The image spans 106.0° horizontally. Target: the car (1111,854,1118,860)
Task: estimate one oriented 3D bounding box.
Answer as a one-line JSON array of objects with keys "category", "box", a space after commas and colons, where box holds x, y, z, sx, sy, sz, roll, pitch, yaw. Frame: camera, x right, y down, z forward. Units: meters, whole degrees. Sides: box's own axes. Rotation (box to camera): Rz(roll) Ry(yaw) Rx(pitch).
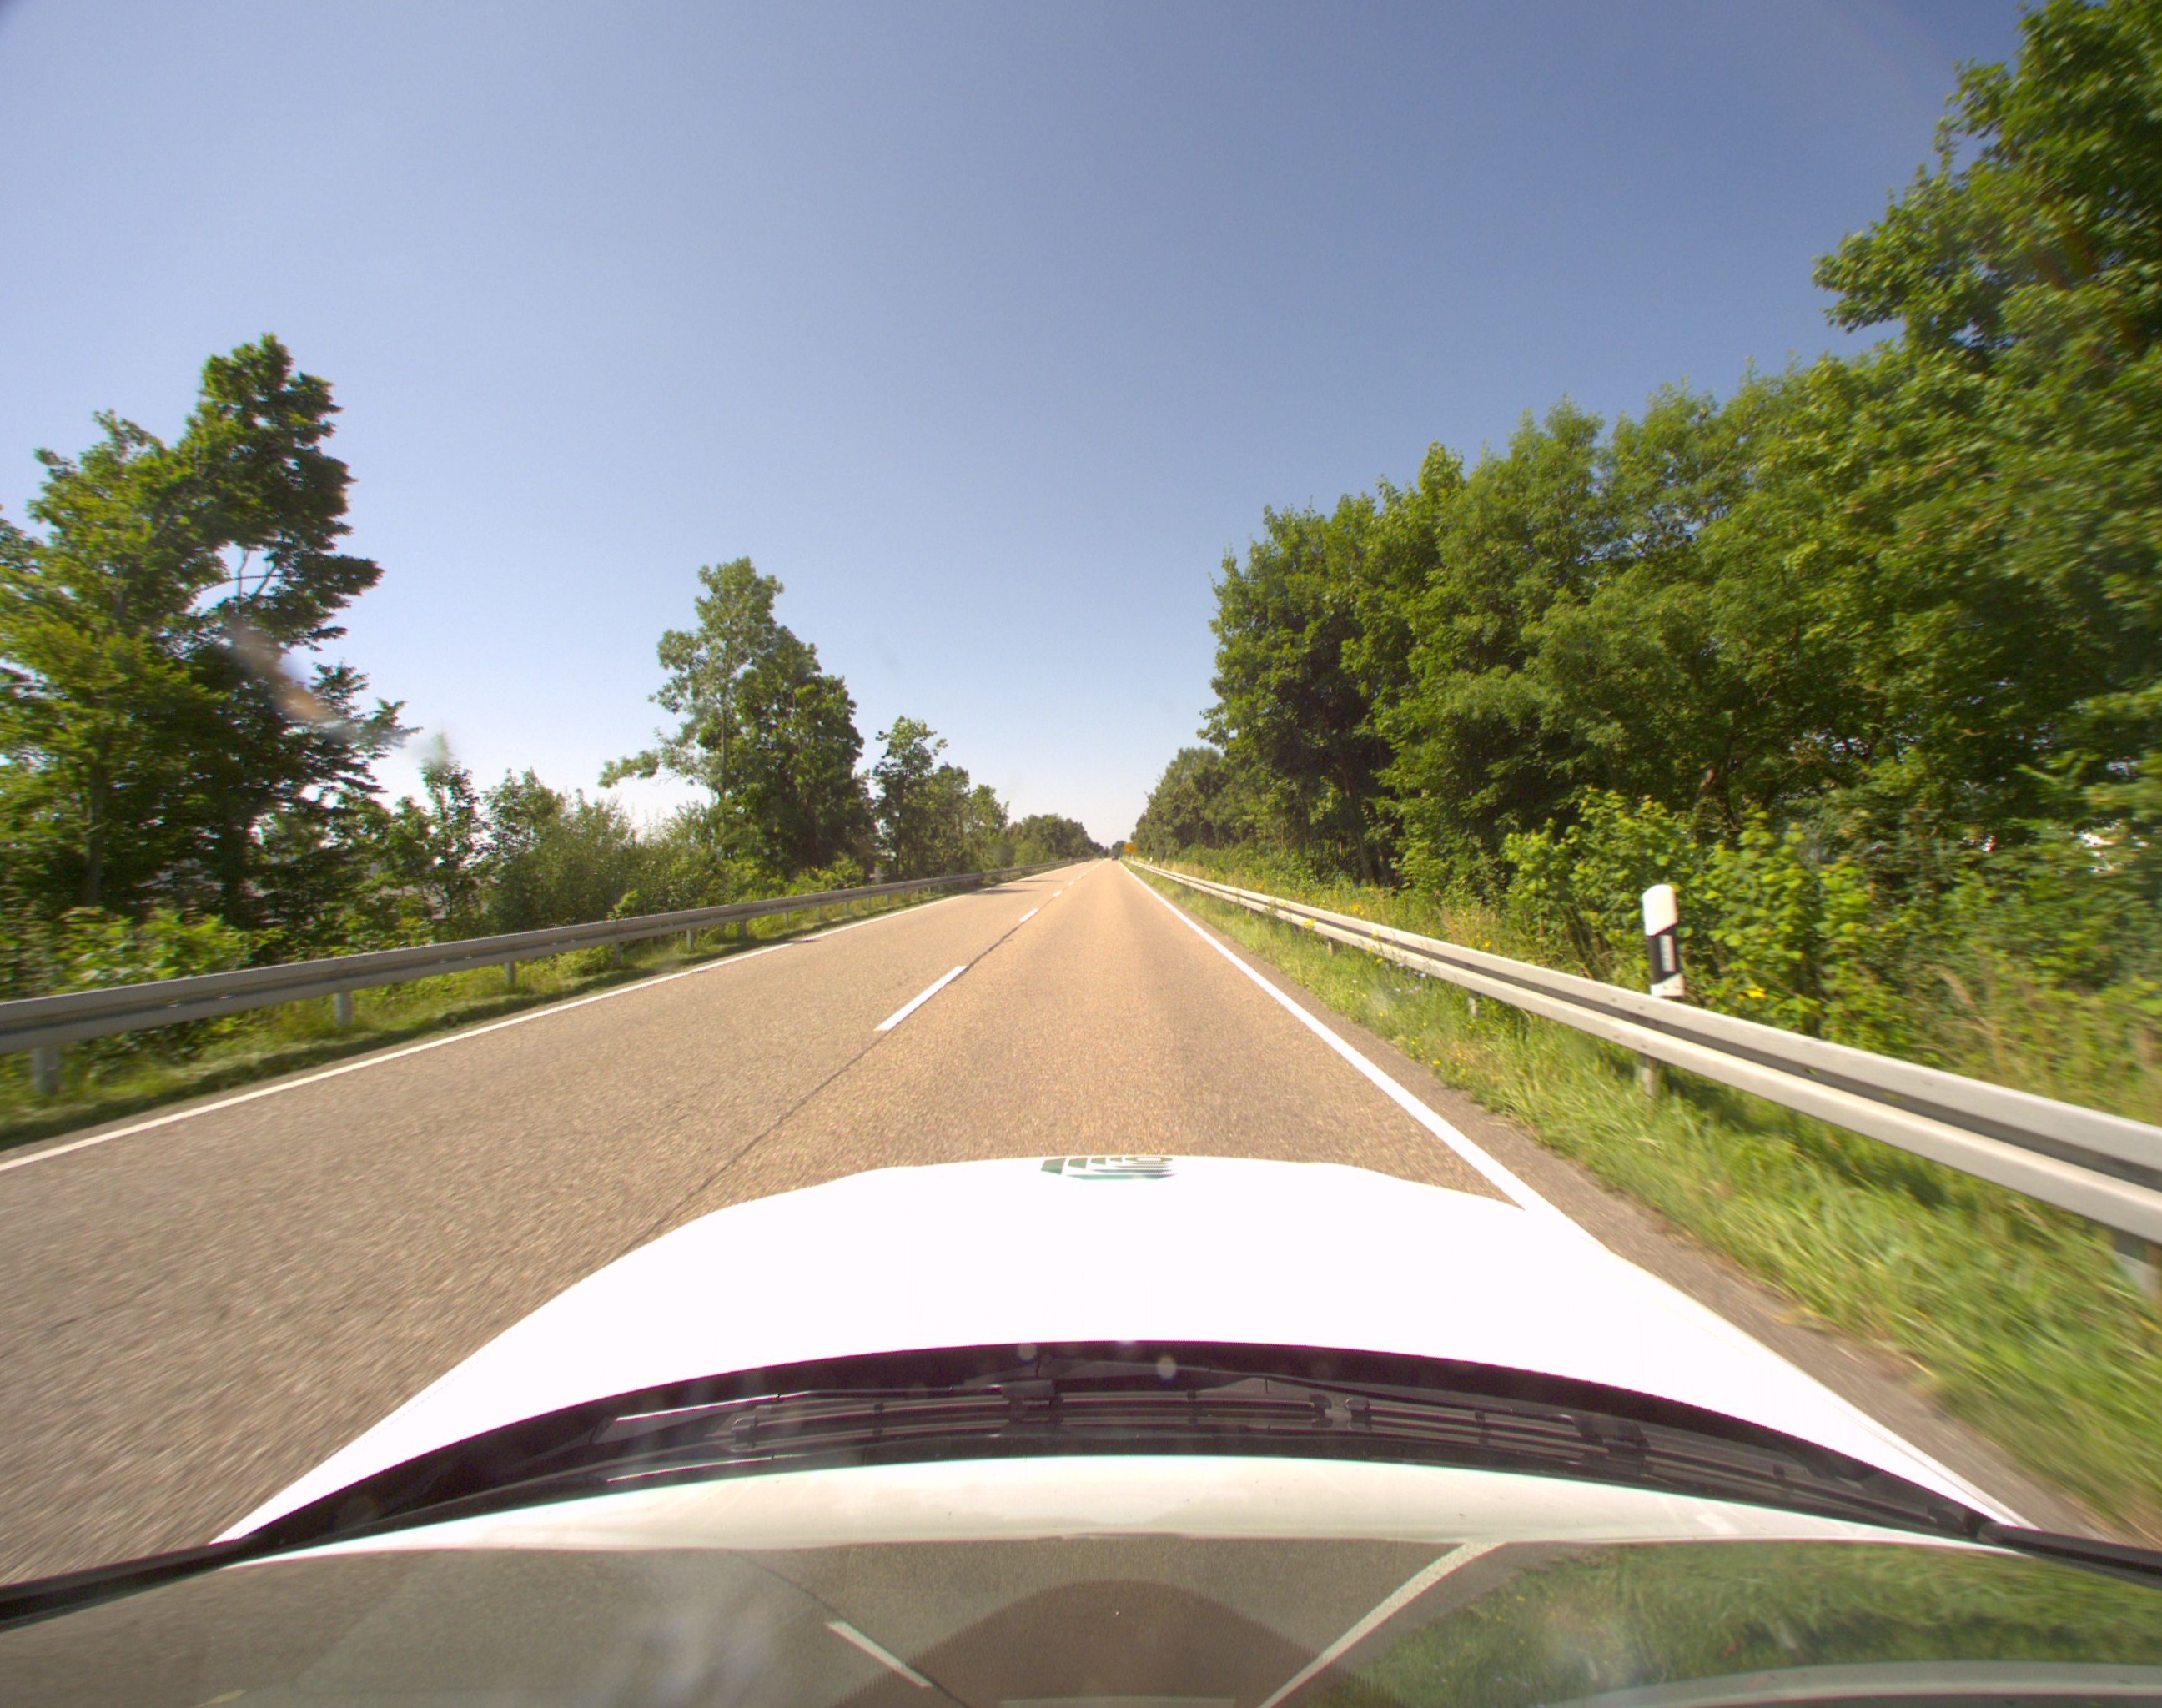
[{"category": "car", "box": [9.159, 0.875, 222.630, 1.734, 1.470, 3.696, -1, 0, 3]}]
